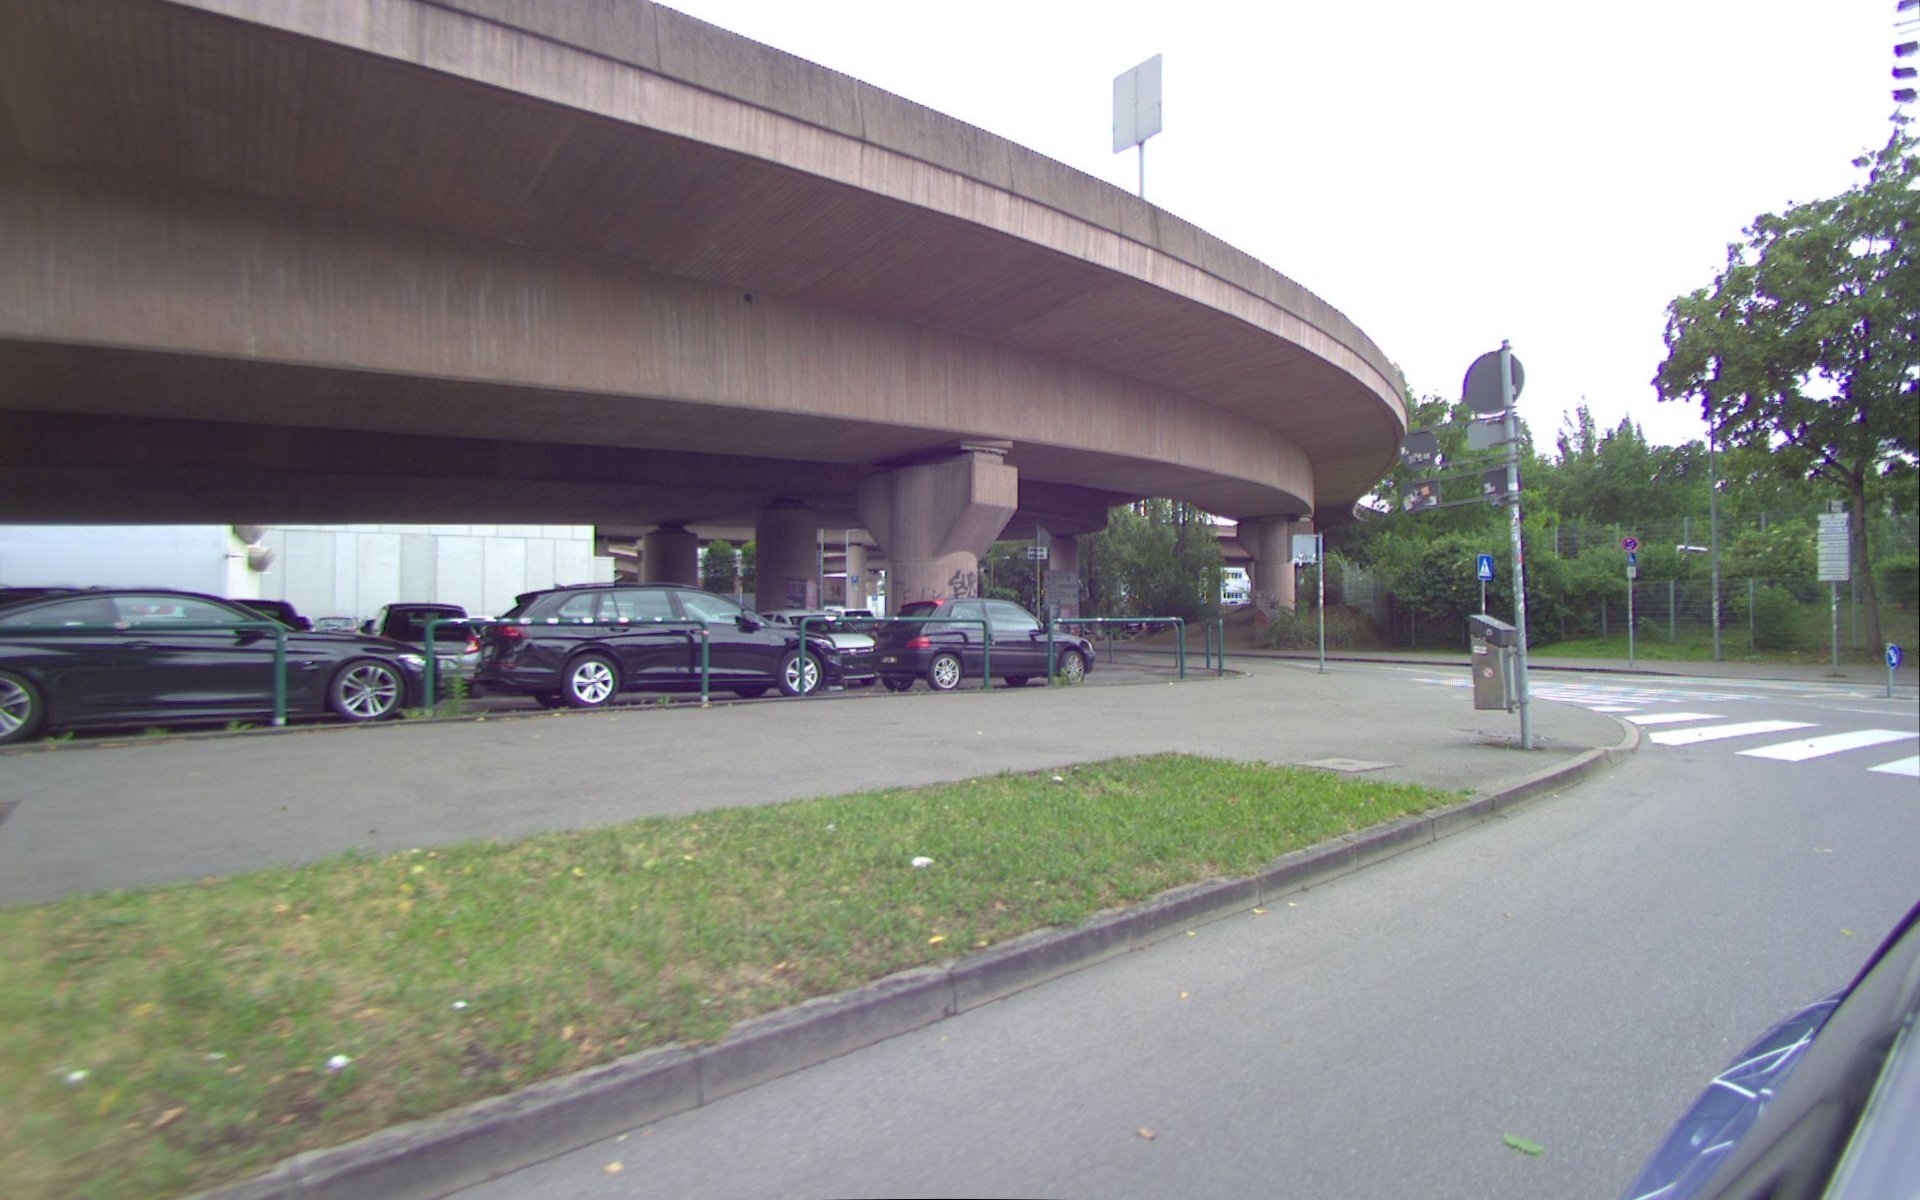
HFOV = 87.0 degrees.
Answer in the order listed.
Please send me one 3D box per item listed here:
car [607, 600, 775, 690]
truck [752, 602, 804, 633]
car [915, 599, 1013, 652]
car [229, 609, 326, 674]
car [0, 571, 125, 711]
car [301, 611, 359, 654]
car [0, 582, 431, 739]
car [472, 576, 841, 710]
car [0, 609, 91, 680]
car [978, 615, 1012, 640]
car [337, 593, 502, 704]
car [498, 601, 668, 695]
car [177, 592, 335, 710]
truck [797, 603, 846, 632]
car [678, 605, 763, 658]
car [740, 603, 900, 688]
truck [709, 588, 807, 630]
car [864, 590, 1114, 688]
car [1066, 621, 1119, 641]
[{"bbox_3d":[-5.185,0.802,19.207,1.667,1.529,3.857,1,-2,-39],"label":"car"},{"bbox_3d":[-17.584,1.736,98.219,2.426,2.923,6.081,0,-1,18],"label":"truck"},{"bbox_3d":[0.051,0.733,29.456,1.578,1.415,3.585,-1,-1,-22],"label":"car"},{"bbox_3d":[-16.505,0.966,24.619,1.802,1.446,3.863,1,-2,-32],"label":"car"},{"bbox_3d":[-12.844,0.535,14.122,1.726,1.716,3.857,1,-2,-39],"label":"car"},{"bbox_3d":[-24.603,1.245,39.523,1.802,1.613,4.193,1,-2,-32],"label":"car"},{"bbox_3d":[-7.712,0.536,9.949,4.290,1.338,1.772,0,-2,-34],"label":"car"},{"bbox_3d":[-3.703,0.486,12.637,4.166,1.439,1.510,0,-3,-33],"label":"car"},{"bbox_3d":[-20.461,0.938,22.109,1.646,1.446,3.863,1,-2,-32],"label":"car"},{"bbox_3d":[2.299,1.791,67.400,1.809,1.594,4.552,0,-1,-3],"label":"car"},{"bbox_3d":[-8.840,0.723,16.409,1.667,1.575,3.857,1,-2,-39],"label":"car"},{"bbox_3d":[-6.687,0.788,17.745,1.667,1.462,3.857,1,-2,-39],"label":"car"},{"bbox_3d":[-10.937,0.725,15.613,1.726,1.575,3.857,1,-2,-39],"label":"car"},{"bbox_3d":[-13.572,1.713,99.827,2.388,2.779,7.205,0,-1,13],"label":"truck"},{"bbox_3d":[-7.457,0.946,31.319,1.501,1.519,3.376,-2,0,-32],"label":"car"},{"bbox_3d":[-2.990,0.881,20.900,1.608,1.572,4.010,1,-1,-35],"label":"car"},{"bbox_3d":[-22.336,1.083,112.327,9.932,4.423,3.916,1,-2,-30],"label":"truck"},{"bbox_3d":[0.490,0.566,15.614,3.627,1.347,1.510,0,-2,-33],"label":"car"},{"bbox_3d":[10.066,2.344,76.650,1.818,1.449,4.707,-4,-3,38],"label":"car"}]
